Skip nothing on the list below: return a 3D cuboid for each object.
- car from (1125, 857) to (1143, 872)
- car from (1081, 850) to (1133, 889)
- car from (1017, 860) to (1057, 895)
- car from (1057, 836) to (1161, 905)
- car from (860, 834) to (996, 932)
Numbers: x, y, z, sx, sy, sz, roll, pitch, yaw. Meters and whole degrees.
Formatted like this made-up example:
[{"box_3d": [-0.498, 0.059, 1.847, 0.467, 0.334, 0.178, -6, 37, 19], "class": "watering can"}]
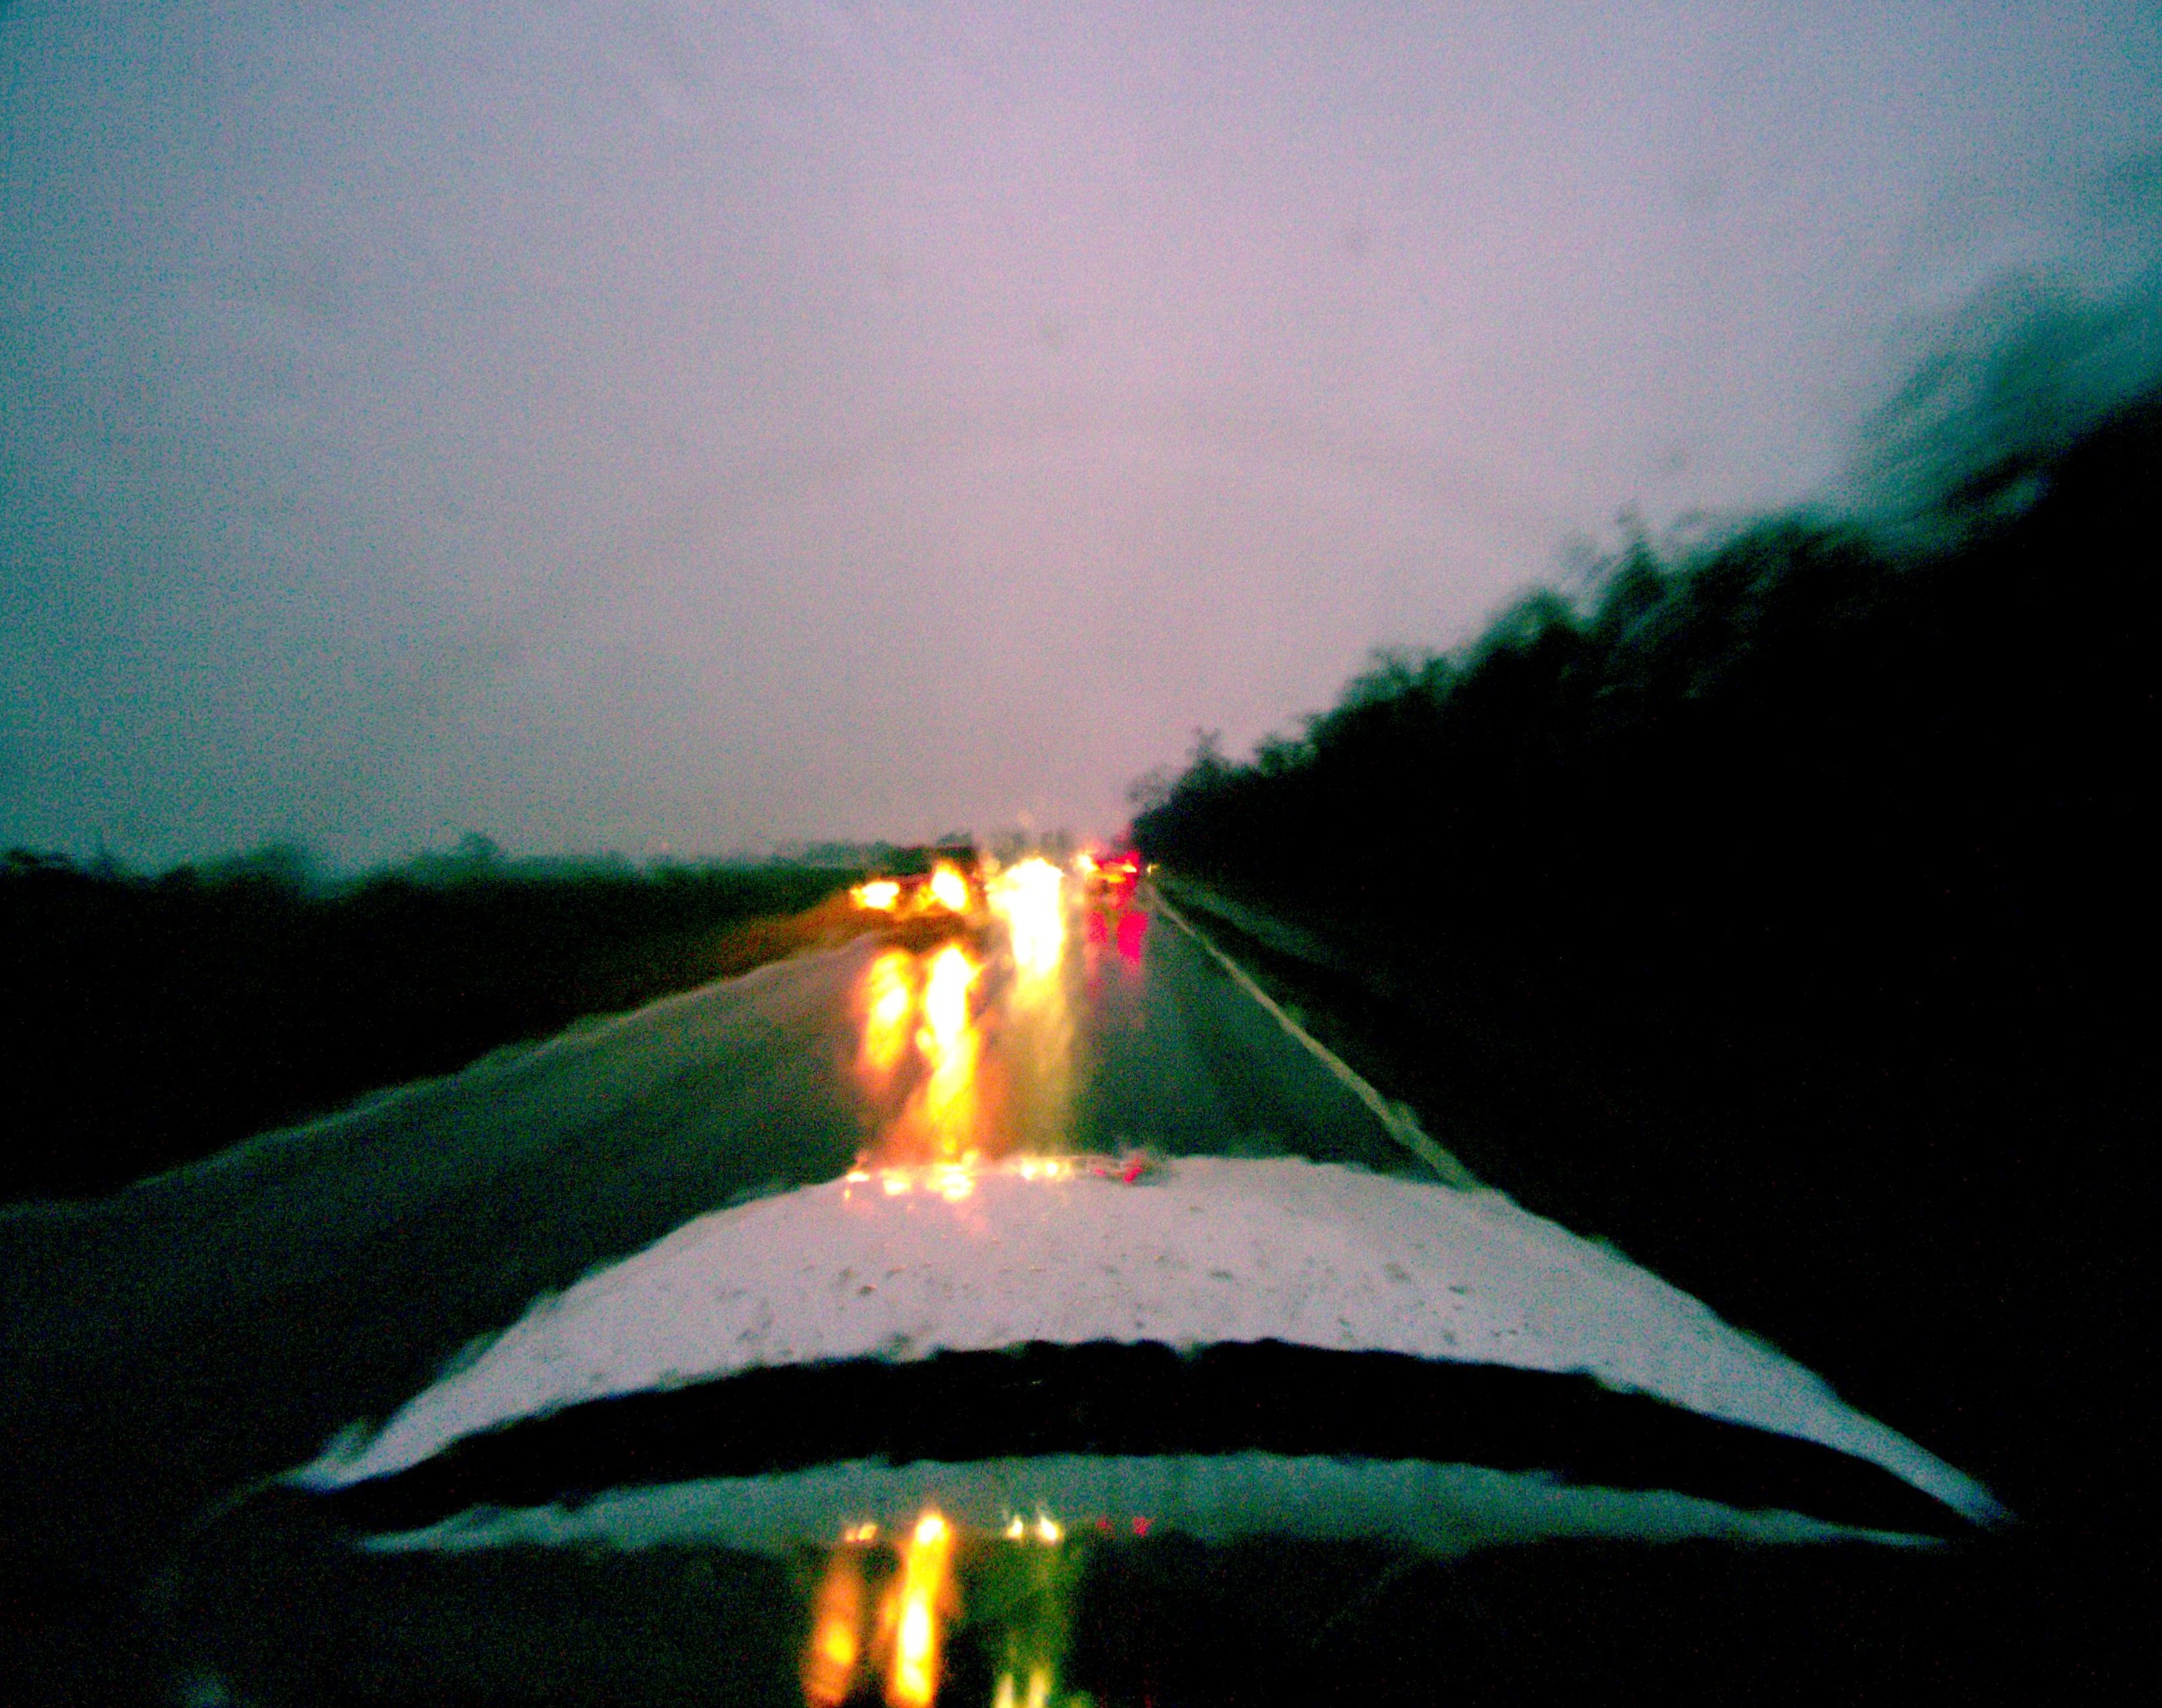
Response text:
[{"box_3d": [6.378, 1.214, 98.458, 1.921, 1.750, 4.001, -1, -1, 1], "class": "car"}, {"box_3d": [1.519, 0.844, 47.870, 2.746, 2.035, 6.593, -2, 0, 1], "class": "car"}, {"box_3d": [-2.330, 1.219, 44.384, 1.722, 1.646, 4.263, -4, 0, 2], "class": "car"}, {"box_3d": [0.966, 0.502, 28.570, 3.153, 2.035, 6.854, -2, 0, 1], "class": "car"}, {"box_3d": [-3.378, 0.591, 19.066, 1.986, 1.870, 4.954, -4, 0, 2], "class": "car"}]
